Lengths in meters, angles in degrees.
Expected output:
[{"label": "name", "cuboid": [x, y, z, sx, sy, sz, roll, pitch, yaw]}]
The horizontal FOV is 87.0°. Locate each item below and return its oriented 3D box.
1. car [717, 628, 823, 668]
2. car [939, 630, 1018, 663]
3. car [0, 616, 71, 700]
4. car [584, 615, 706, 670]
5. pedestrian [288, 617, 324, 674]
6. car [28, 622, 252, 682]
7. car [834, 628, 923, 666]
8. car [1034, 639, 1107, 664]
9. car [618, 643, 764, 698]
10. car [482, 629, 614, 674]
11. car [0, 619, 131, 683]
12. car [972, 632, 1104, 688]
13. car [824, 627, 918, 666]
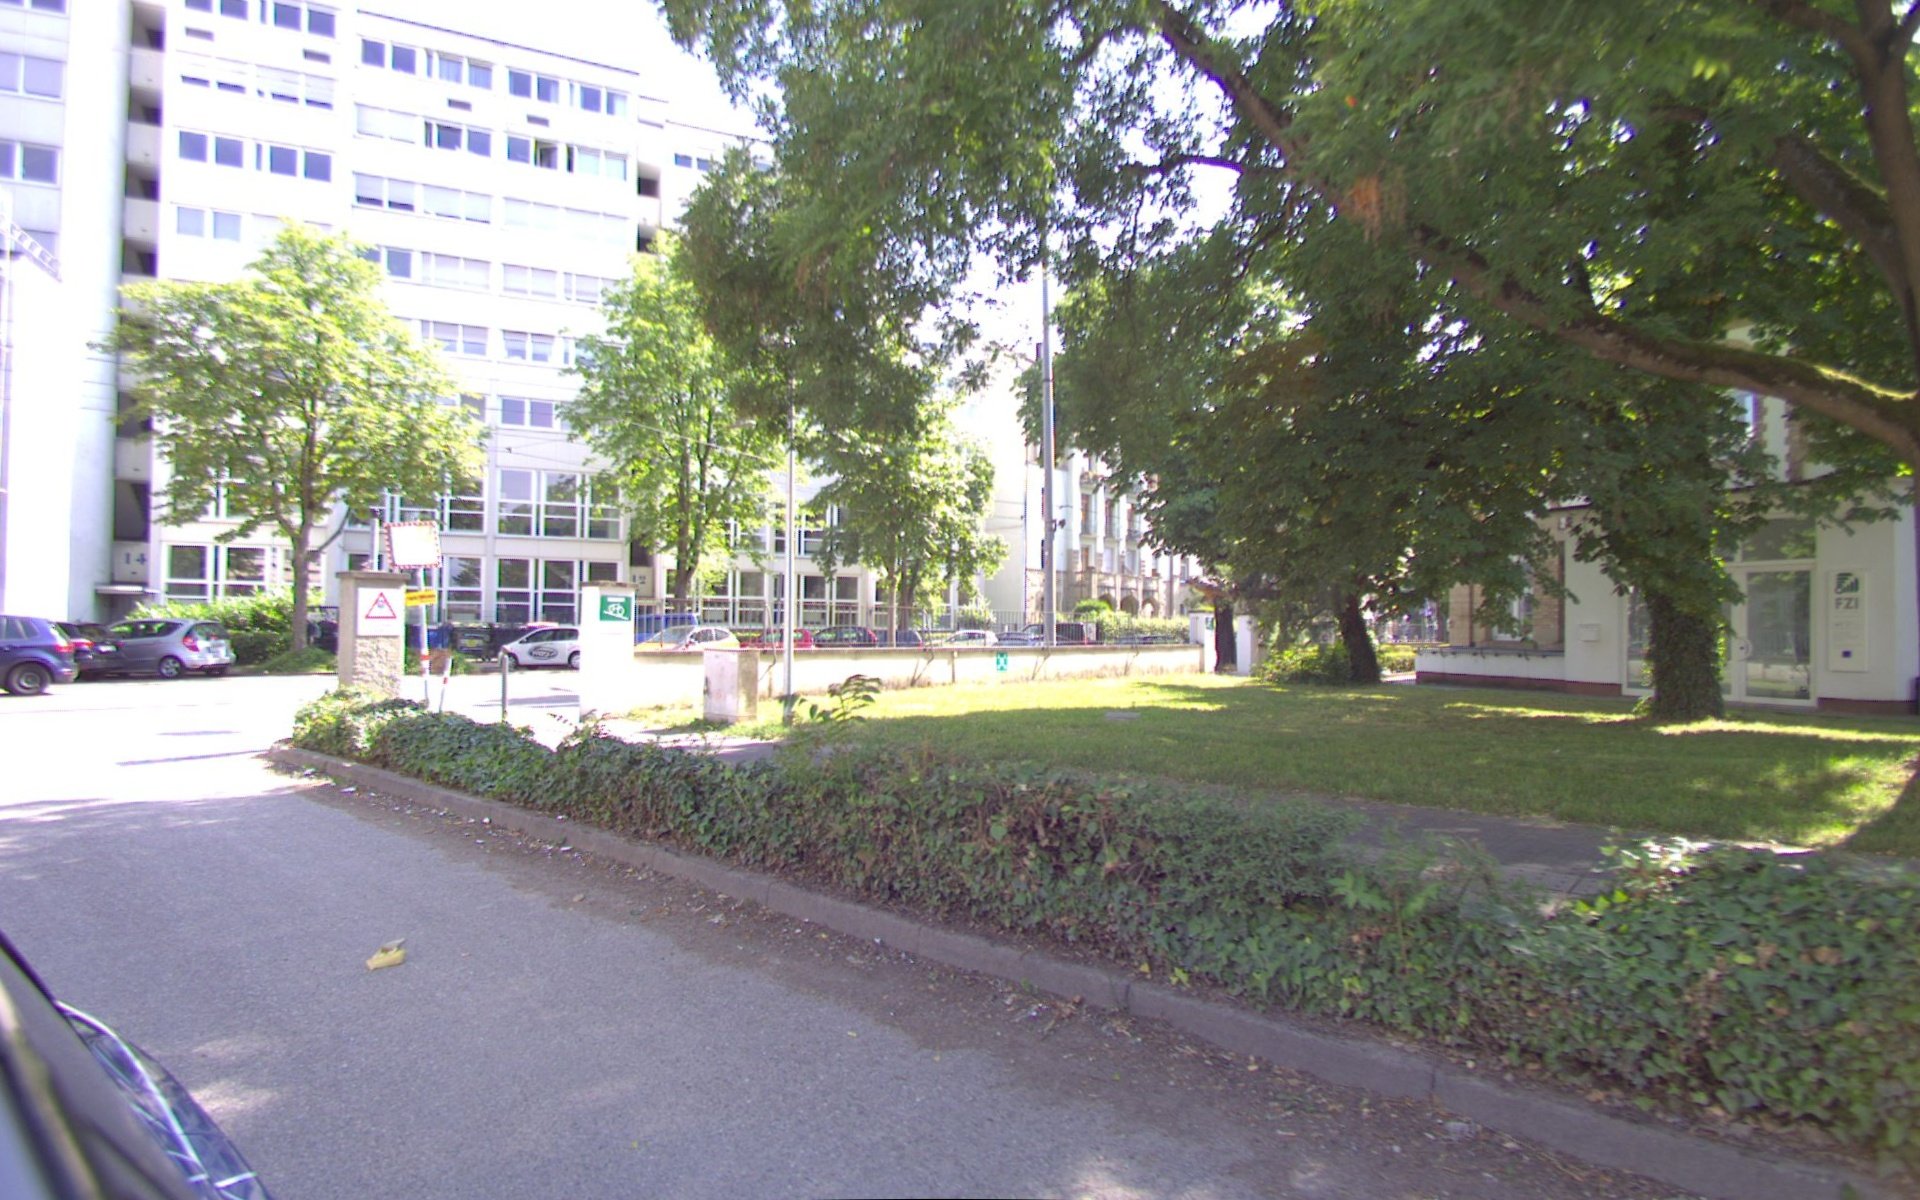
[{"label": "car", "cuboid": [-7.742, 1.957, 41.499, 4.155, 1.550, 1.785, 0, -2, -5]}, {"label": "car", "cuboid": [0.894, 2.378, 51.809, 3.942, 1.674, 1.830, 0, -2, -1]}, {"label": "car", "cuboid": [-19.037, 1.058, 18.198, 1.942, 1.533, 4.331, -2, -3, 40]}, {"label": "car", "cuboid": [-11.320, 1.535, 36.610, 3.939, 1.921, 1.789, 0, -2, -5]}, {"label": "pedestrian", "cuboid": [-20.819, 1.452, 32.215, 0.731, 1.790, 0.743, -2, -3, 38]}, {"label": "car", "cuboid": [-21.406, 1.356, 26.563, 4.274, 1.497, 1.804, 0, -2, -5]}, {"label": "car", "cuboid": [-3.737, 2.153, 46.292, 3.939, 1.652, 1.834, 0, -2, -5]}, {"label": "car", "cuboid": [6.381, 2.973, 58.592, 3.940, 1.428, 1.787, 1, -2, -4]}, {"label": "car", "cuboid": [-7.555, 1.954, 28.806, 1.655, 1.423, 4.134, -2, -3, 29]}, {"label": "car", "cuboid": [-13.883, 1.719, 34.210, 3.803, 1.475, 1.707, 0, -2, 6]}, {"label": "car", "cuboid": [-22.705, 1.203, 24.191, 4.119, 1.487, 1.804, 0, -2, -8]}, {"label": "car", "cuboid": [2.274, 1.656, 28.764, 1.733, 1.487, 3.945, -3, -3, 41]}, {"label": "car", "cuboid": [-3.875, 2.010, 43.975, 3.939, 1.652, 1.806, 0, -2, -5]}]
